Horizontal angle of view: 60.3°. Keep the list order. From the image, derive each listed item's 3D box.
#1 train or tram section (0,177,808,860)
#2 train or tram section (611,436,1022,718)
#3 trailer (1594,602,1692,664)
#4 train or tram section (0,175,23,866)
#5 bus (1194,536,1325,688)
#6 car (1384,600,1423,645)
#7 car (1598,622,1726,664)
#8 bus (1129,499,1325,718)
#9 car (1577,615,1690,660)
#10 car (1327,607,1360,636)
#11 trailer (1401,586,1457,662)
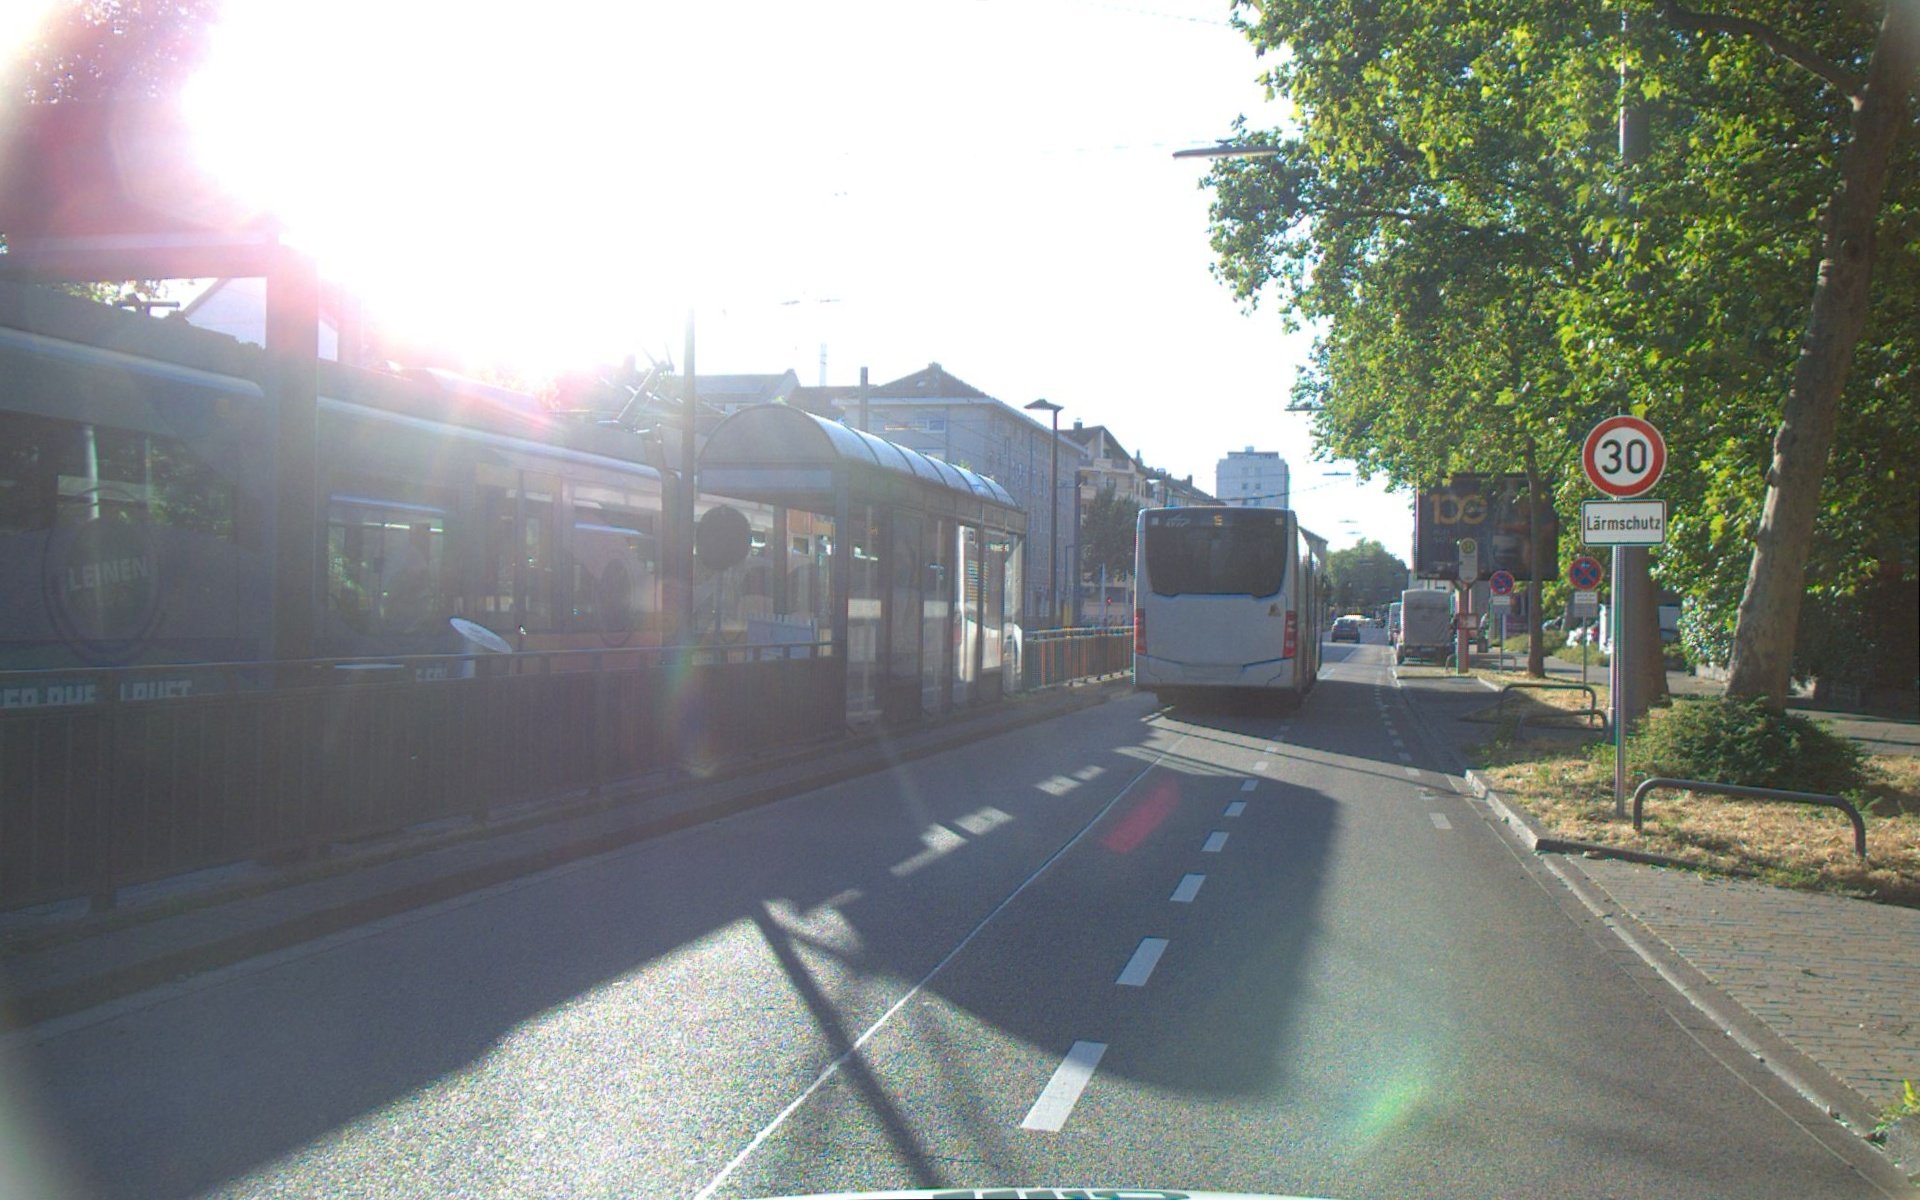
[{"bbox_3d":[-4.822,-0.381,15.173,2.670,3.611,12.794,1,0,14],"label":"train or tram section"},{"bbox_3d":[-1.649,-0.246,27.783,2.584,3.581,13.343,1,0,14],"label":"train or tram section"},{"bbox_3d":[24.447,1.157,59.269,2.999,2.106,1.880,1,0,16],"label":"trailer"},{"bbox_3d":[-7.963,-0.492,2.551,2.789,3.595,13.406,1,0,14],"label":"train or tram section"},{"bbox_3d":[7.281,0.262,39.333,2.651,3.161,8.987,1,0,13],"label":"bus"},{"bbox_3d":[27.377,1.397,102.224,2.233,2.673,5.313,0,-1,14],"label":"car"},{"bbox_3d":[23.975,1.443,56.607,3.837,1.359,1.707,1,-1,16],"label":"car"},{"bbox_3d":[5.104,0.134,29.783,2.675,3.194,10.711,1,0,13],"label":"bus"},{"bbox_3d":[26.134,1.454,64.283,3.837,1.665,1.707,1,-1,14],"label":"car"},{"bbox_3d":[25.359,1.402,109.271,1.951,1.847,4.003,1,0,15],"label":"car"},{"bbox_3d":[16.527,0.835,58.418,1.793,2.602,3.321,0,-1,14],"label":"trailer"}]
